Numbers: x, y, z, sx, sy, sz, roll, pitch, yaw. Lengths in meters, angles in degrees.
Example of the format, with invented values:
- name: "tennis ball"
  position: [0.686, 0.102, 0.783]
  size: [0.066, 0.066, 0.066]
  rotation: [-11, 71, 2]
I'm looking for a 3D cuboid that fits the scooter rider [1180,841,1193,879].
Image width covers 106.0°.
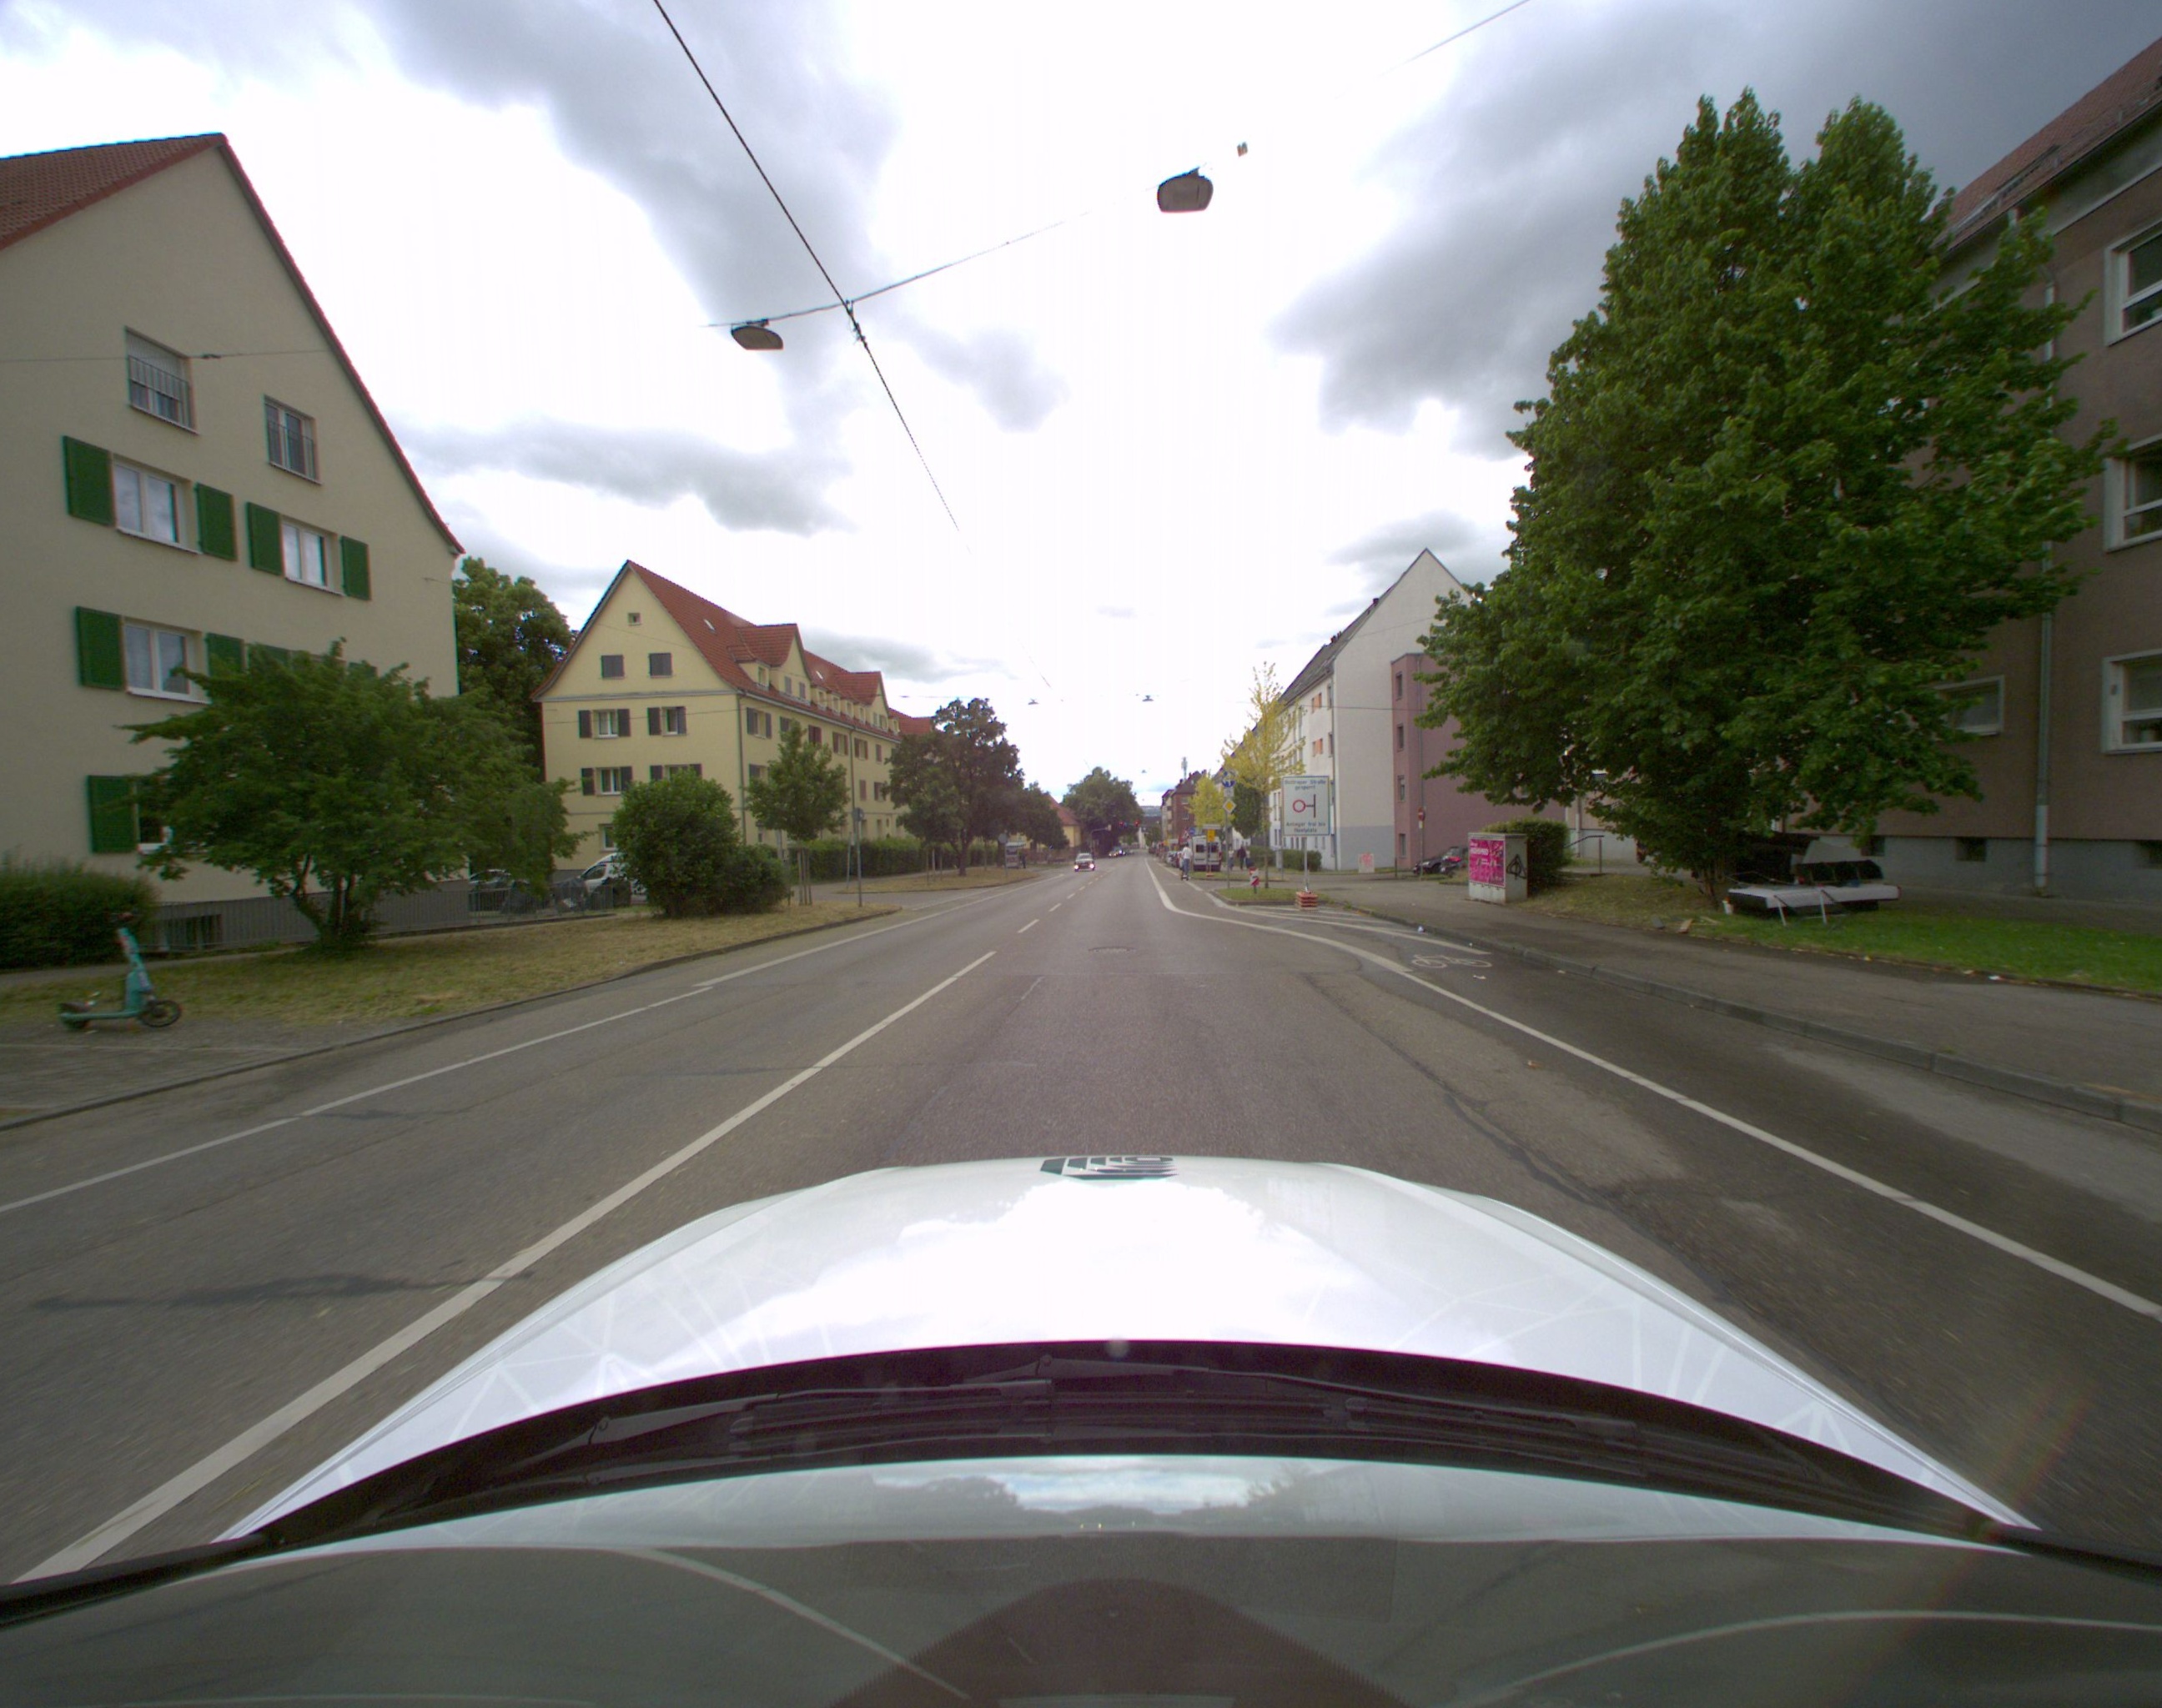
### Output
- name: "scooter rider"
  position: [5.607, 0.306, 43.384]
  size: [0.623, 2.013, 0.758]
  rotation: [-1, 0, 3]

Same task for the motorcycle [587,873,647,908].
- name: "motorcycle"
  position: [-17.723, 1.385, 31.080]
  size: [2.572, 1.279, 1.023]
  rotation: [-2, 0, 37]

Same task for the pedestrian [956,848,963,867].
- name: "pedestrian"
  position: [-11.189, 0.315, 75.057]
  size: [0.511, 1.779, 0.754]
  rotation: [-1, 0, 4]

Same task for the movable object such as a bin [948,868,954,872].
- name: "movable object such as a bin"
  position: [-11.986, 1.511, 75.065]
  size: [0.304, 0.347, 0.583]
  rotation: [-1, 0, 9]

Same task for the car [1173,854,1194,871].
- name: "car"
  position: [9.761, 0.795, 78.103]
  size: [1.674, 1.544, 4.342]
  rotation: [-1, 0, 3]

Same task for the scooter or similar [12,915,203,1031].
- name: "scooter or similar"
  position: [-10.154, 1.223, 8.516]
  size: [1.366, 1.086, 0.466]
  rotation: [-2, 0, -1]

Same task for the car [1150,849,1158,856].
- name: "car"
  position: [19.958, -0.432, 223.278]
  size: [1.986, 1.935, 4.921]
  rotation: [-1, 0, 1]

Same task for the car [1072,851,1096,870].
- name: "car"
  position: [0.329, 0.602, 75.227]
  size: [1.890, 1.620, 4.367]
  rotation: [-1, 0, 5]

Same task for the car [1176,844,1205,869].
- name: "car"
  position: [8.914, 0.201, 66.753]
  size: [1.985, 1.944, 5.216]
  rotation: [-1, 0, 3]

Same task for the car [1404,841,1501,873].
- name: "car"
  position: [18.054, 0.156, 39.740]
  size: [3.967, 1.456, 1.763]
  rotation: [-1, 0, 5]

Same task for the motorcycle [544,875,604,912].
- name: "motorcycle"
  position: [-19.027, 1.445, 30.520]
  size: [2.572, 1.278, 1.023]
  rotation: [-1, 0, 37]

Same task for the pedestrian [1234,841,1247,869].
- name: "pedestrian"
  position: [11.229, 0.071, 57.305]
  size: [0.670, 1.887, 0.764]
  rotation: [-2, -1, -8]

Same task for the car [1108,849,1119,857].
- name: "car"
  position: [6.615, -0.199, 165.416]
  size: [1.747, 1.472, 4.315]
  rotation: [-2, 0, 7]

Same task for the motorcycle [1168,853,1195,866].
- name: "motorcycle"
  position: [9.980, 0.559, 81.247]
  size: [2.589, 1.278, 0.753]
  rotation: [-1, 0, -1]

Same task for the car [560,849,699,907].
- name: "car"
  position: [-18.844, 0.977, 34.128]
  size: [4.696, 2.253, 1.997]
  rotation: [-2, 0, 4]

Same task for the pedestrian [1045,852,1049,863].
- name: "pedestrian"
  position: [-5.778, 0.605, 139.370]
  size: [0.561, 1.777, 0.718]
  rotation: [-1, 0, 4]

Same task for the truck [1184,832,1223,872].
- name: "truck"
  position: [8.413, -0.143, 56.354]
  size: [2.044, 2.565, 5.694]
  rotation: [-1, 0, 3]

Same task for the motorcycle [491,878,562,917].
- name: "motorcycle"
  position: [-20.934, 1.621, 30.838]
  size: [1.012, 1.278, 2.602]
  rotation: [-1, 0, -5]

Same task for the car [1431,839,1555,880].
- name: "car"
  position: [16.175, 0.221, 32.131]
  size: [3.969, 1.453, 1.690]
  rotation: [-2, -2, 4]

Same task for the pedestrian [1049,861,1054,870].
- name: "pedestrian"
  position: [-4.808, 1.874, 133.780]
  size: [0.560, 1.566, 0.844]
  rotation: [-1, 0, 9]

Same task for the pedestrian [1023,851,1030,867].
- name: "pedestrian"
  position: [-5.954, 0.561, 88.317]
  size: [0.594, 1.726, 0.862]
  rotation: [-1, 0, 6]

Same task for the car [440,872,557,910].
- name: "car"
  position: [-24.699, 1.547, 34.579]
  size: [3.797, 1.467, 1.748]
  rotation: [-1, 0, 6]

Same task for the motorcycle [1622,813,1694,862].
- name: "motorcycle"
  position: [15.024, -0.416, 21.267]
  size: [0.588, 1.227, 1.969]
  rotation: [-1, 0, 4]

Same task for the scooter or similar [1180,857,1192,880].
- name: "scooter or similar"
  position: [5.559, 0.765, 43.187]
  size: [0.488, 1.163, 2.077]
  rotation: [-1, 0, 4]

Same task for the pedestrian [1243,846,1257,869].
- name: "pedestrian"
  position: [11.944, 0.248, 57.518]
  size: [0.656, 1.605, 0.574]
  rotation: [-6, 0, -5]

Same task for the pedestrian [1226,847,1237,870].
- name: "pedestrian"
  position: [10.748, 0.328, 58.265]
  size: [0.576, 1.644, 0.559]
  rotation: [-2, -1, -10]
